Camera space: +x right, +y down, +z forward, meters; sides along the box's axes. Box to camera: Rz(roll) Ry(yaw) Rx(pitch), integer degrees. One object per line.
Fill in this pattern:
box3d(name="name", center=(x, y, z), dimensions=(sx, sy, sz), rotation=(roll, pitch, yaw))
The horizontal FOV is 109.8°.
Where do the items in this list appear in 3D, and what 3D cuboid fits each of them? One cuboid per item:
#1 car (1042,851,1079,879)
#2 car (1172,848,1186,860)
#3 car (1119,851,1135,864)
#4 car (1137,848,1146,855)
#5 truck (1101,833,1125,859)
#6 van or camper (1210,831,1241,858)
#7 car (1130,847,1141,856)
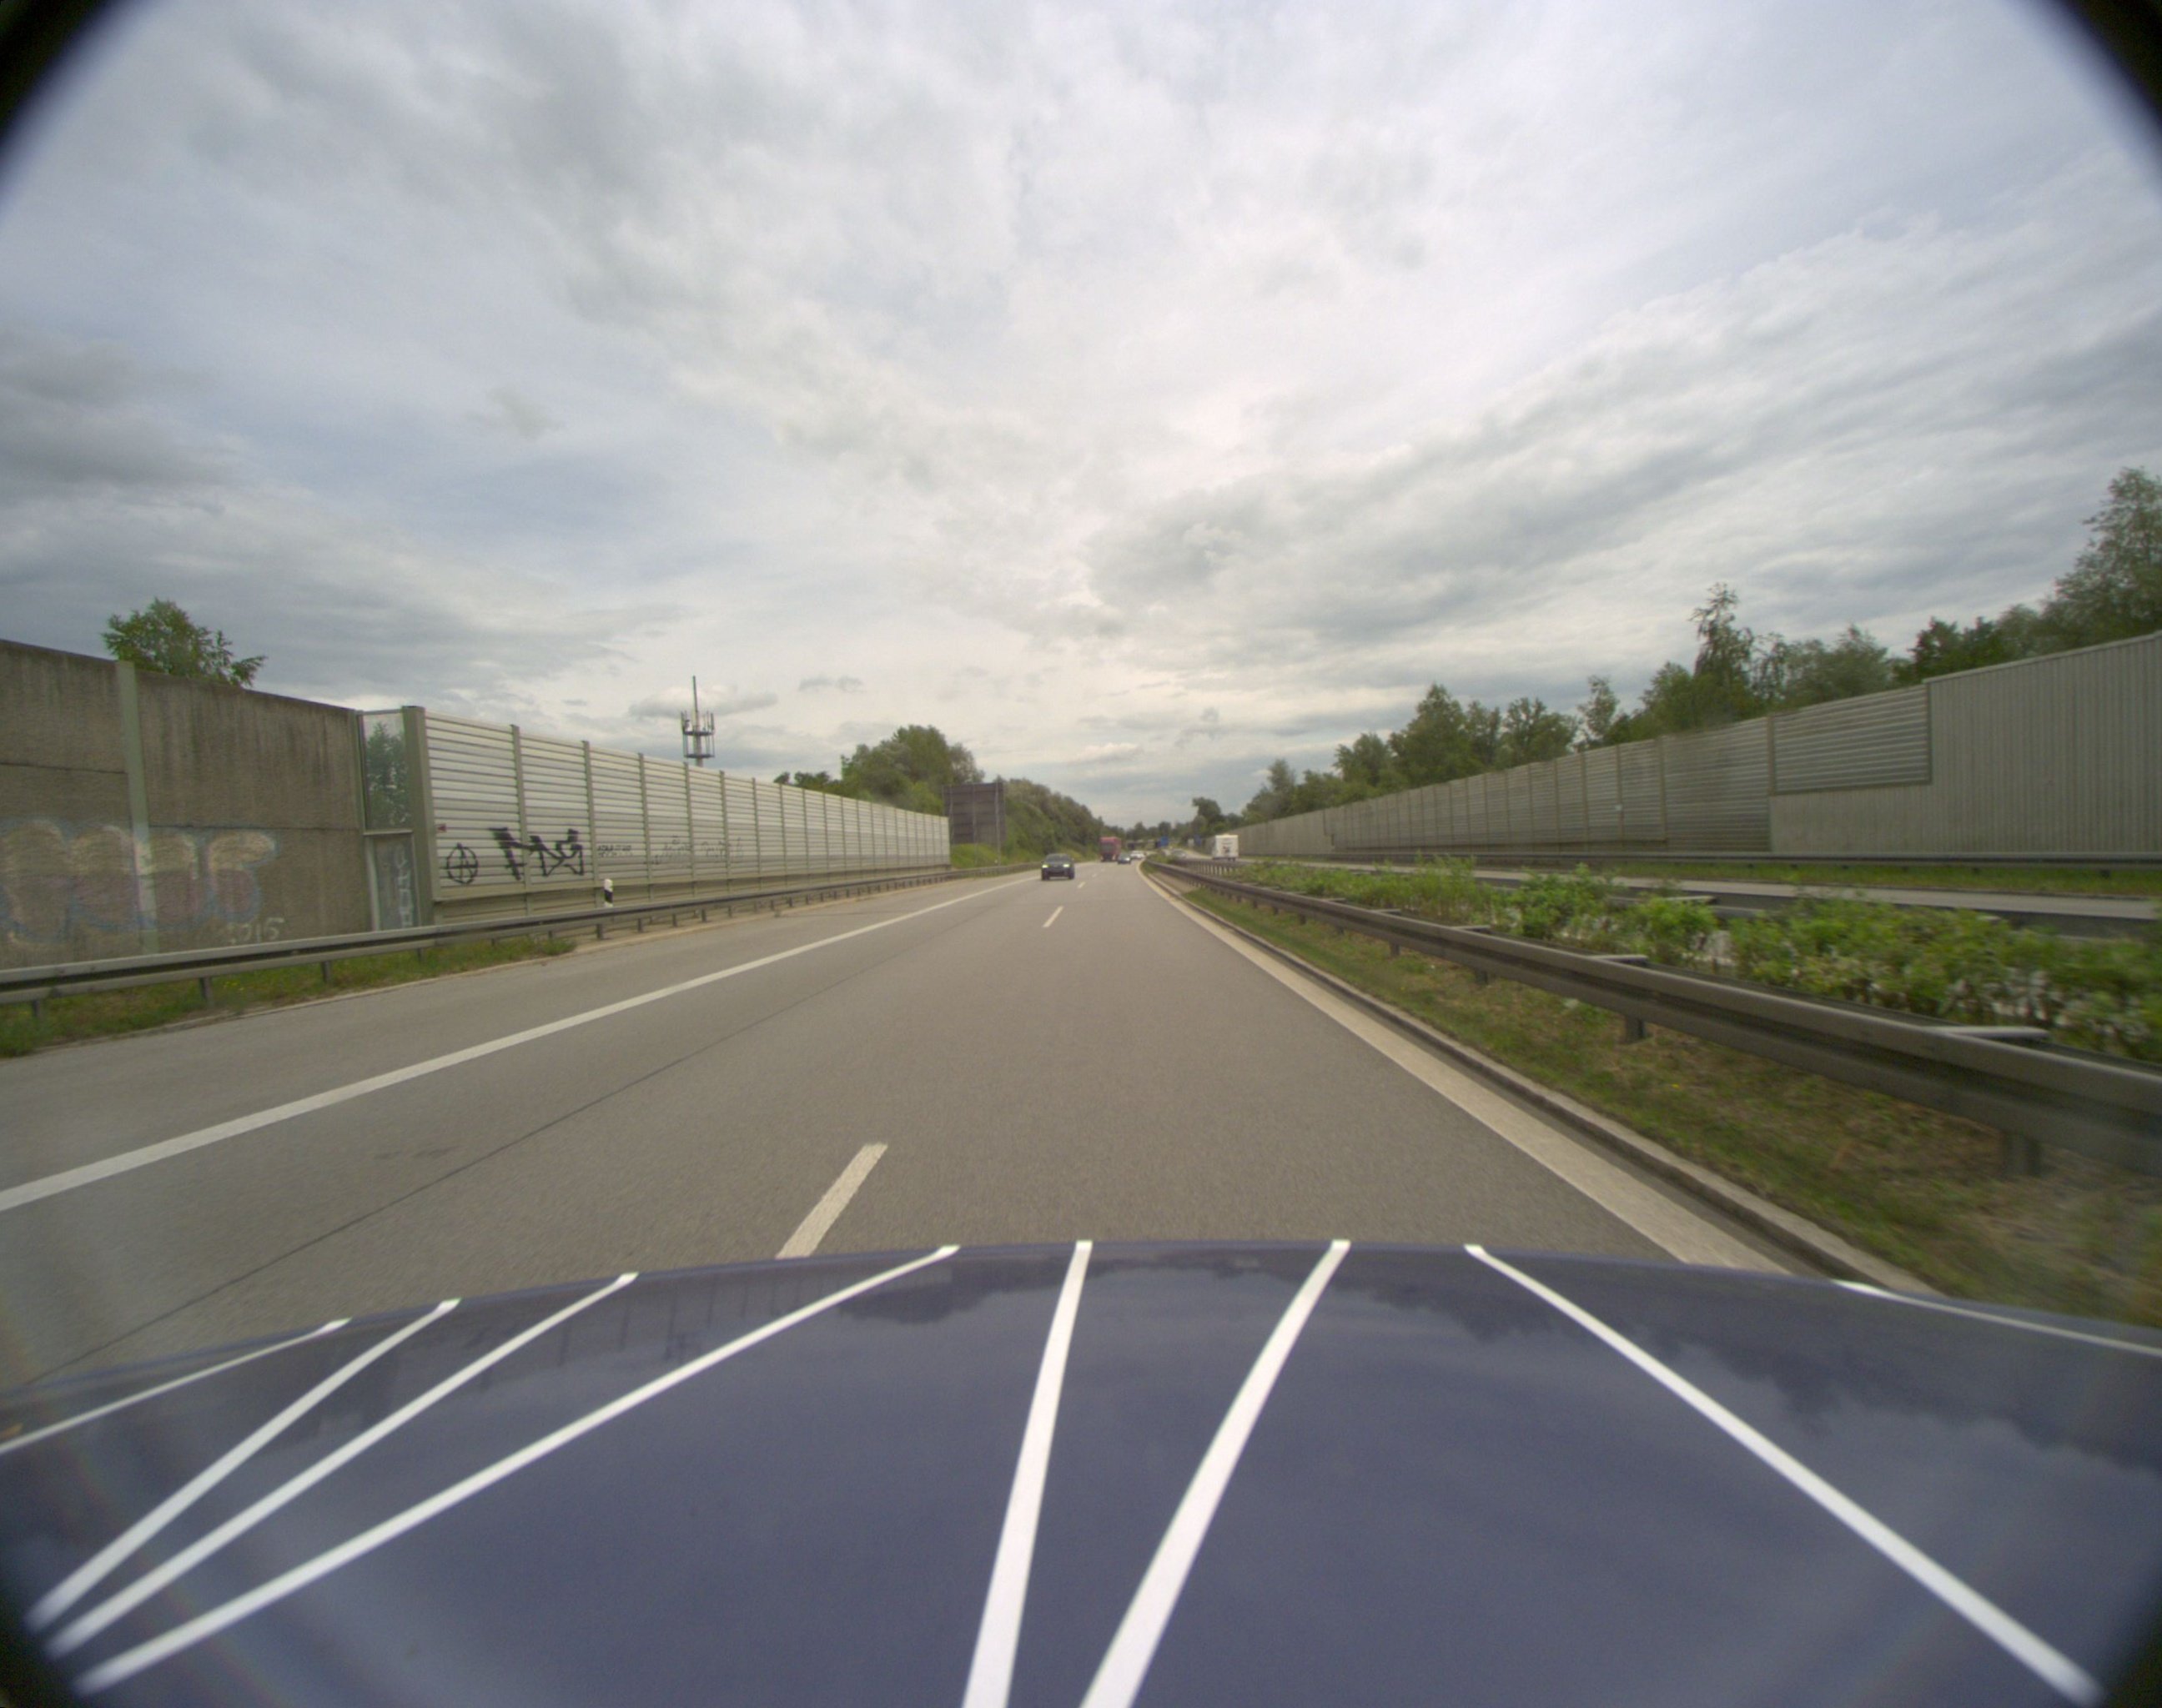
box3d(name="car", center=(-1.195, 0.621, 46.532), dimensions=(1.889, 1.608, 4.001), rotation=(-1, 0, 4))
box3d(name="car", center=(12.758, 0.002, 98.718), dimensions=(1.696, 1.412, 4.649), rotation=(-1, 0, 6))
box3d(name="car", center=(6.244, 0.466, 102.408), dimensions=(1.888, 1.608, 4.002), rotation=(-1, 0, 6))
box3d(name="car", center=(13.712, -0.503, 171.813), dimensions=(1.888, 1.608, 4.002), rotation=(-1, 0, 7))
box3d(name="truck", center=(5.501, -1.324, 129.041), dimensions=(2.932, 4.068, 11.347), rotation=(-2, 0, 7))
box3d(name="van or camper", center=(16.317, -1.015, 86.381), dimensions=(2.472, 2.853, 7.770), rotation=(-2, 0, 4))
box3d(name="car", center=(10.083, -0.386, 140.482), dimensions=(1.888, 1.608, 4.001), rotation=(-1, 0, 6))
